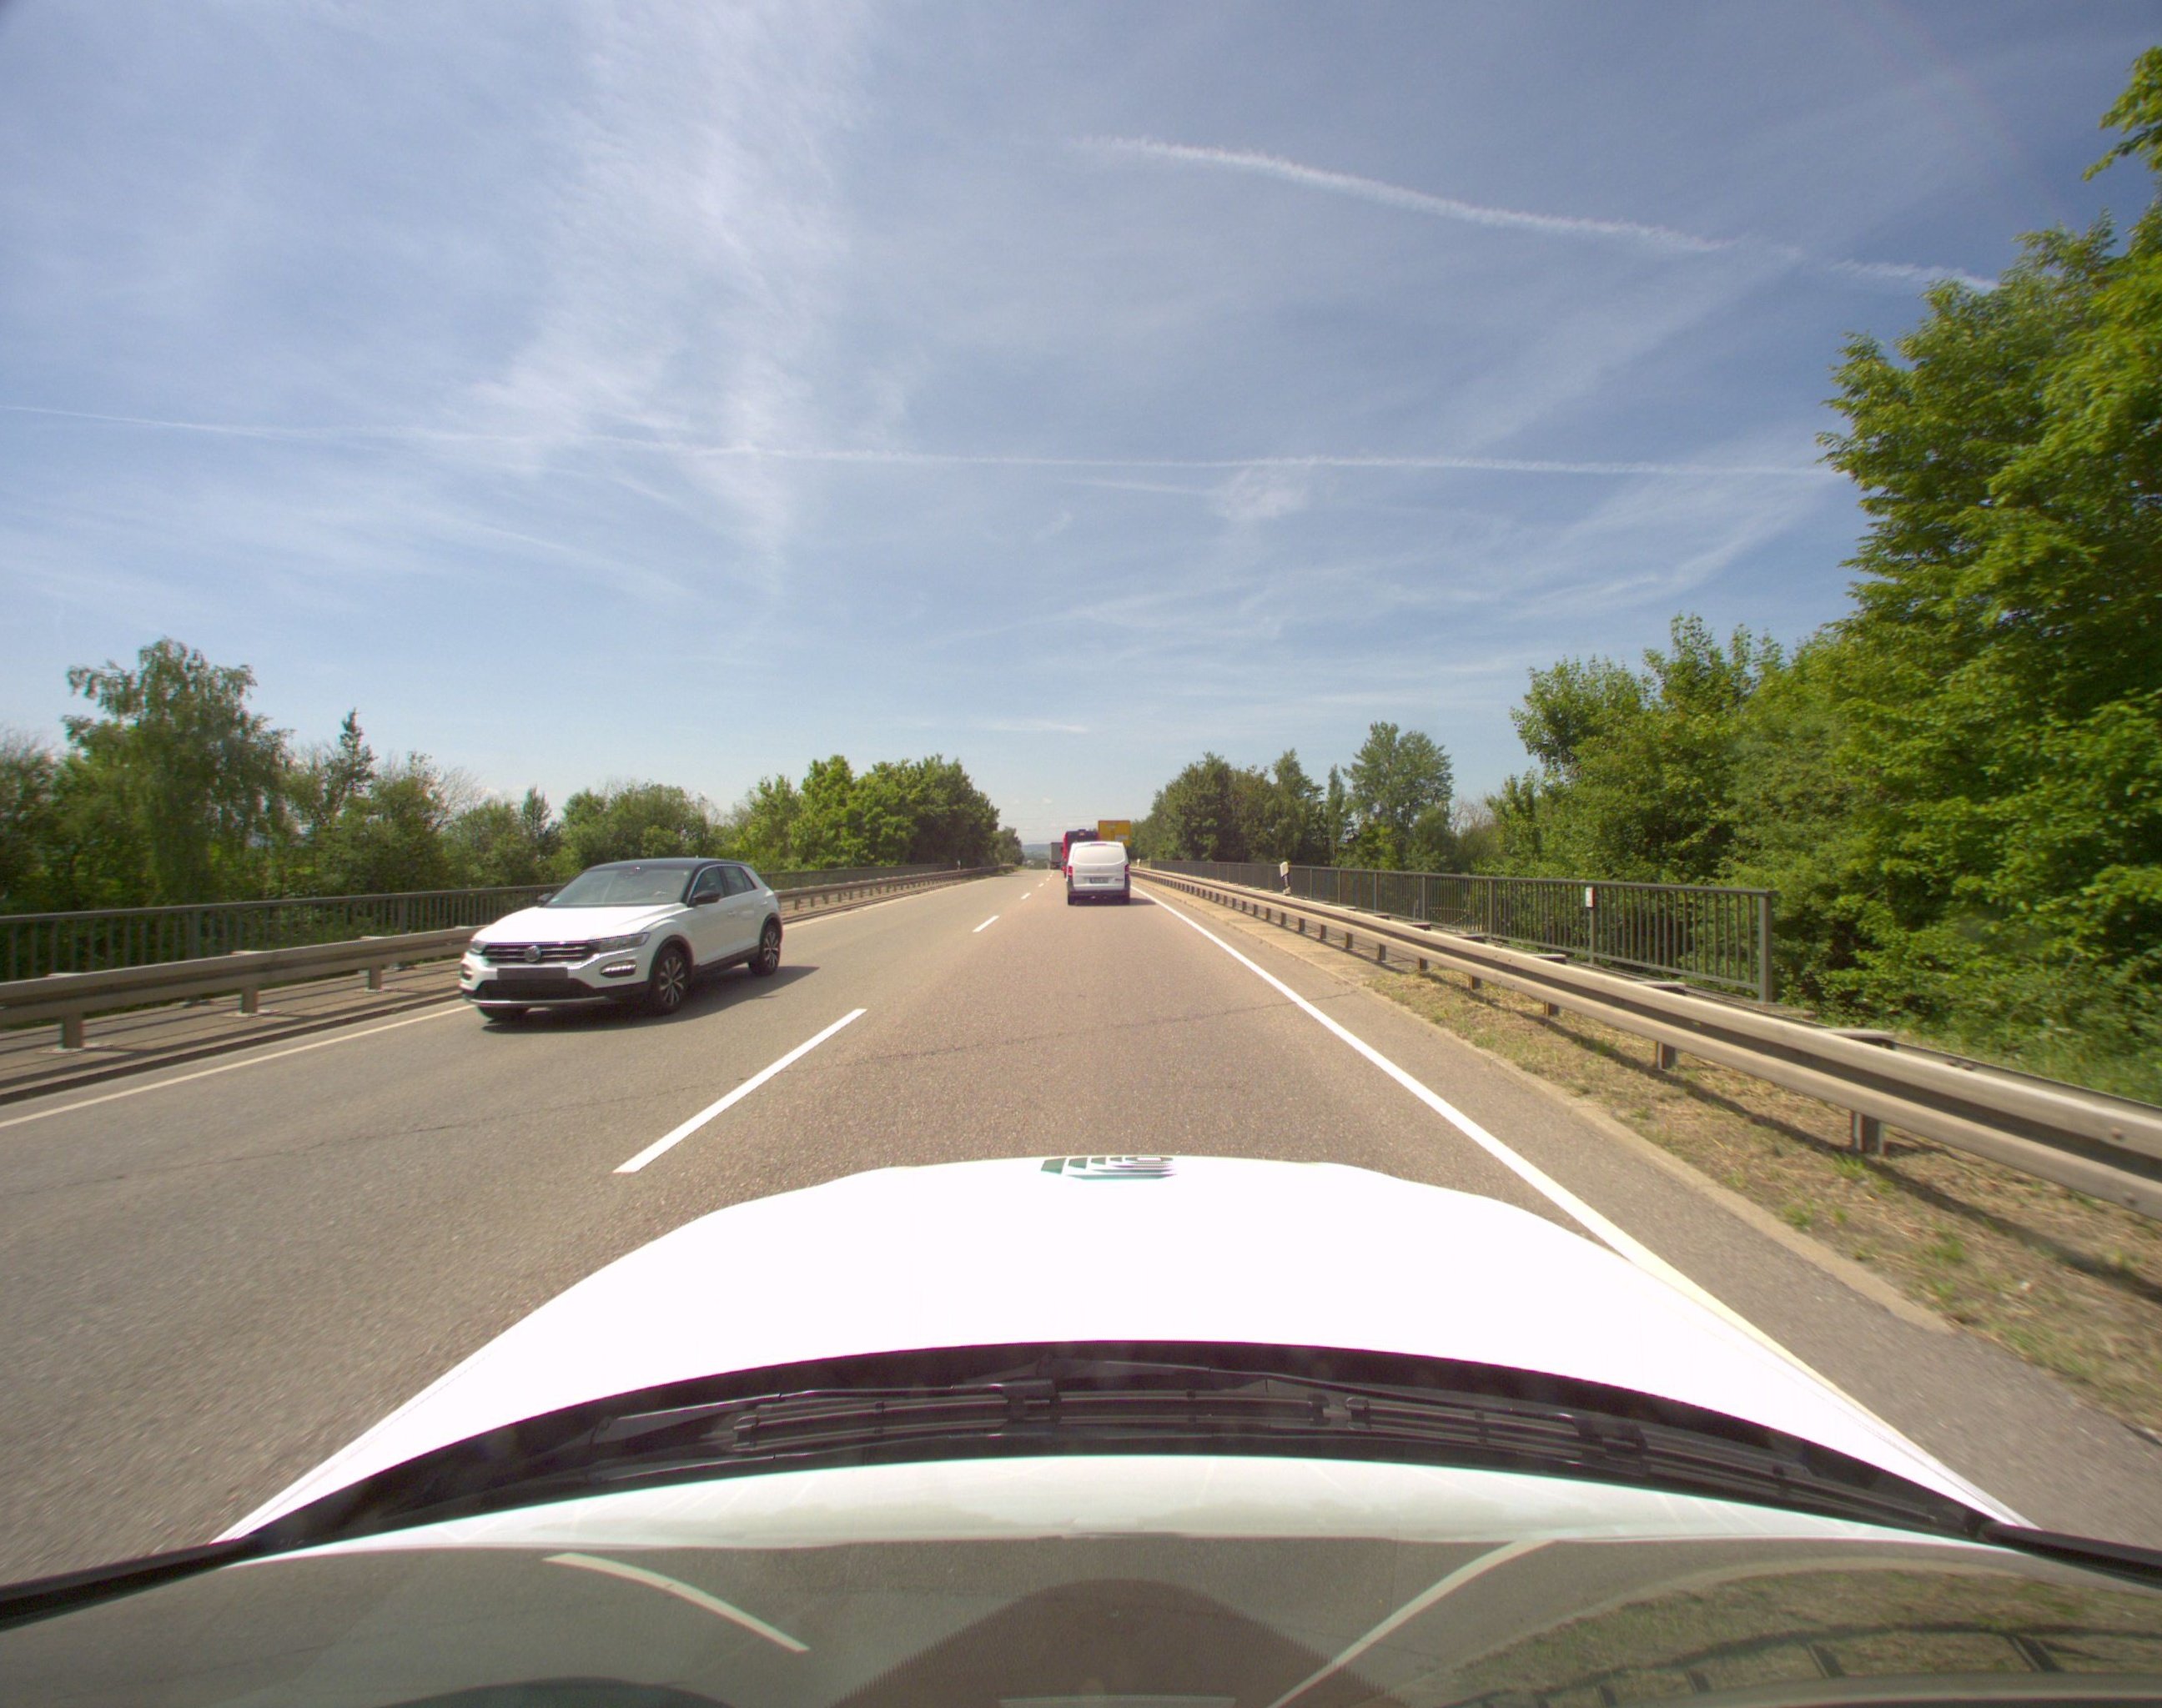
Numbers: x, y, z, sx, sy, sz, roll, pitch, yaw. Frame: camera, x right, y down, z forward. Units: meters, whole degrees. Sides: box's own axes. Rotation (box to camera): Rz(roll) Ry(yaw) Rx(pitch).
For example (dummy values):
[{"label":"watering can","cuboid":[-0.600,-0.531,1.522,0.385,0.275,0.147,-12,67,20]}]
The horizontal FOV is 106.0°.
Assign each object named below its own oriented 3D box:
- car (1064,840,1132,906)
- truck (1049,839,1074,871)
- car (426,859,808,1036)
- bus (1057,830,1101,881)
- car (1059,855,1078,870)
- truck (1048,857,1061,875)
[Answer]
[{"label":"car","cuboid":[0.504,0.537,25.341,1.917,1.889,4.000,0,0,0]},{"label":"truck","cuboid":[-3.015,0.123,124.952,3.479,4.423,14.893,-1,0,-2]},{"label":"car","cuboid":[-4.932,0.850,9.604,1.873,1.511,4.542,-1,0,0]},{"label":"bus","cuboid":[-0.337,0.112,61.173,2.740,3.353,13.210,-1,0,-2]},{"label":"car","cuboid":[-1.564,1.009,101.882,1.992,1.816,3.990,0,0,-7]},{"label":"truck","cuboid":[-6.911,2.979,210.754,3.028,4.454,14.887,-1,0,-3]}]
